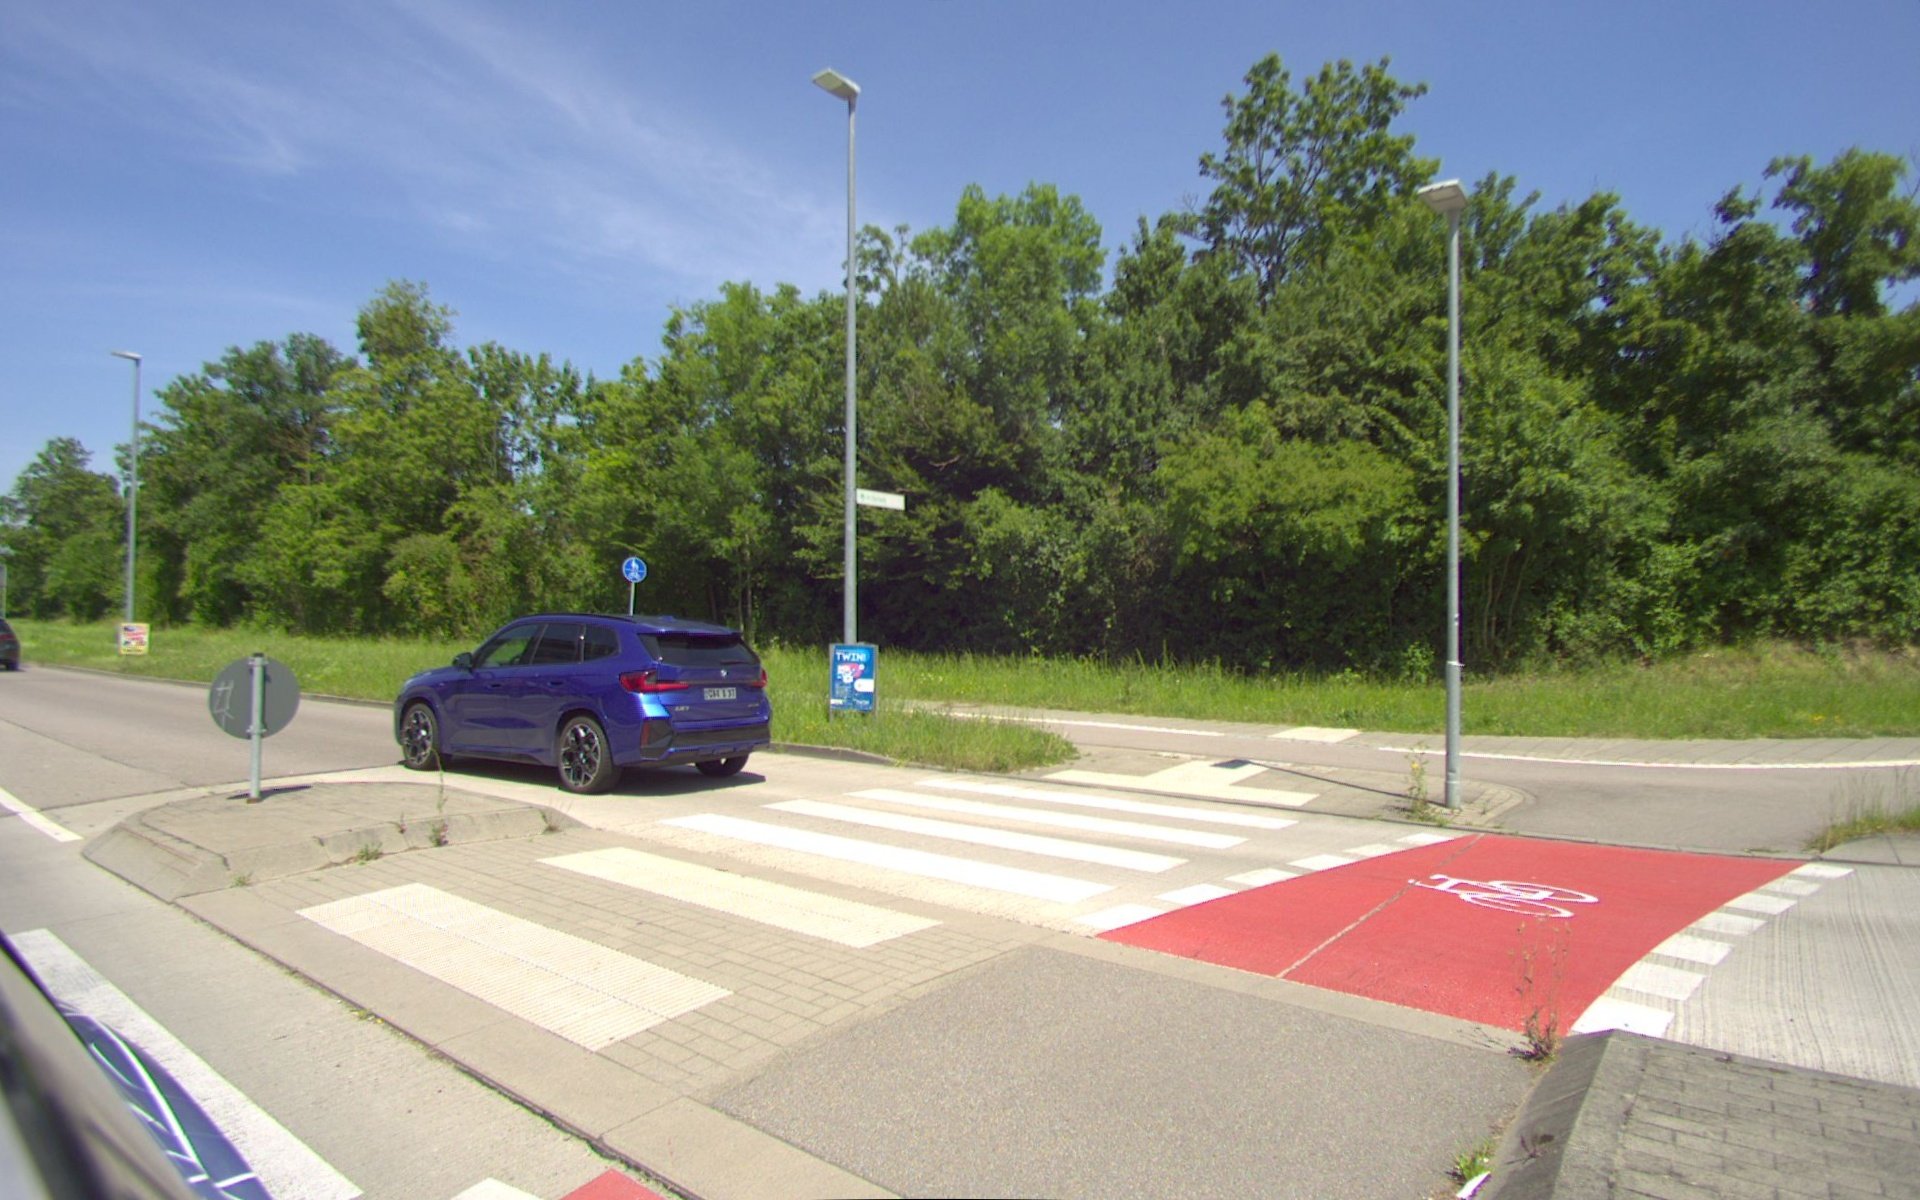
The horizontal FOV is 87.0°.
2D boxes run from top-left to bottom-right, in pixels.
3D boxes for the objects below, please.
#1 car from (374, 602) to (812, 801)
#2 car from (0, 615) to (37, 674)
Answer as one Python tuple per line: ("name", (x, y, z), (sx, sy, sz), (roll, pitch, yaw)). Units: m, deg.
("car", (-3.777, 0.934, 10.229), (4.309, 1.608, 1.977), (-2, -4, 33))
("car", (-25.896, 1.141, 26.295), (4.280, 1.490, 1.976), (-1, -4, 36))
